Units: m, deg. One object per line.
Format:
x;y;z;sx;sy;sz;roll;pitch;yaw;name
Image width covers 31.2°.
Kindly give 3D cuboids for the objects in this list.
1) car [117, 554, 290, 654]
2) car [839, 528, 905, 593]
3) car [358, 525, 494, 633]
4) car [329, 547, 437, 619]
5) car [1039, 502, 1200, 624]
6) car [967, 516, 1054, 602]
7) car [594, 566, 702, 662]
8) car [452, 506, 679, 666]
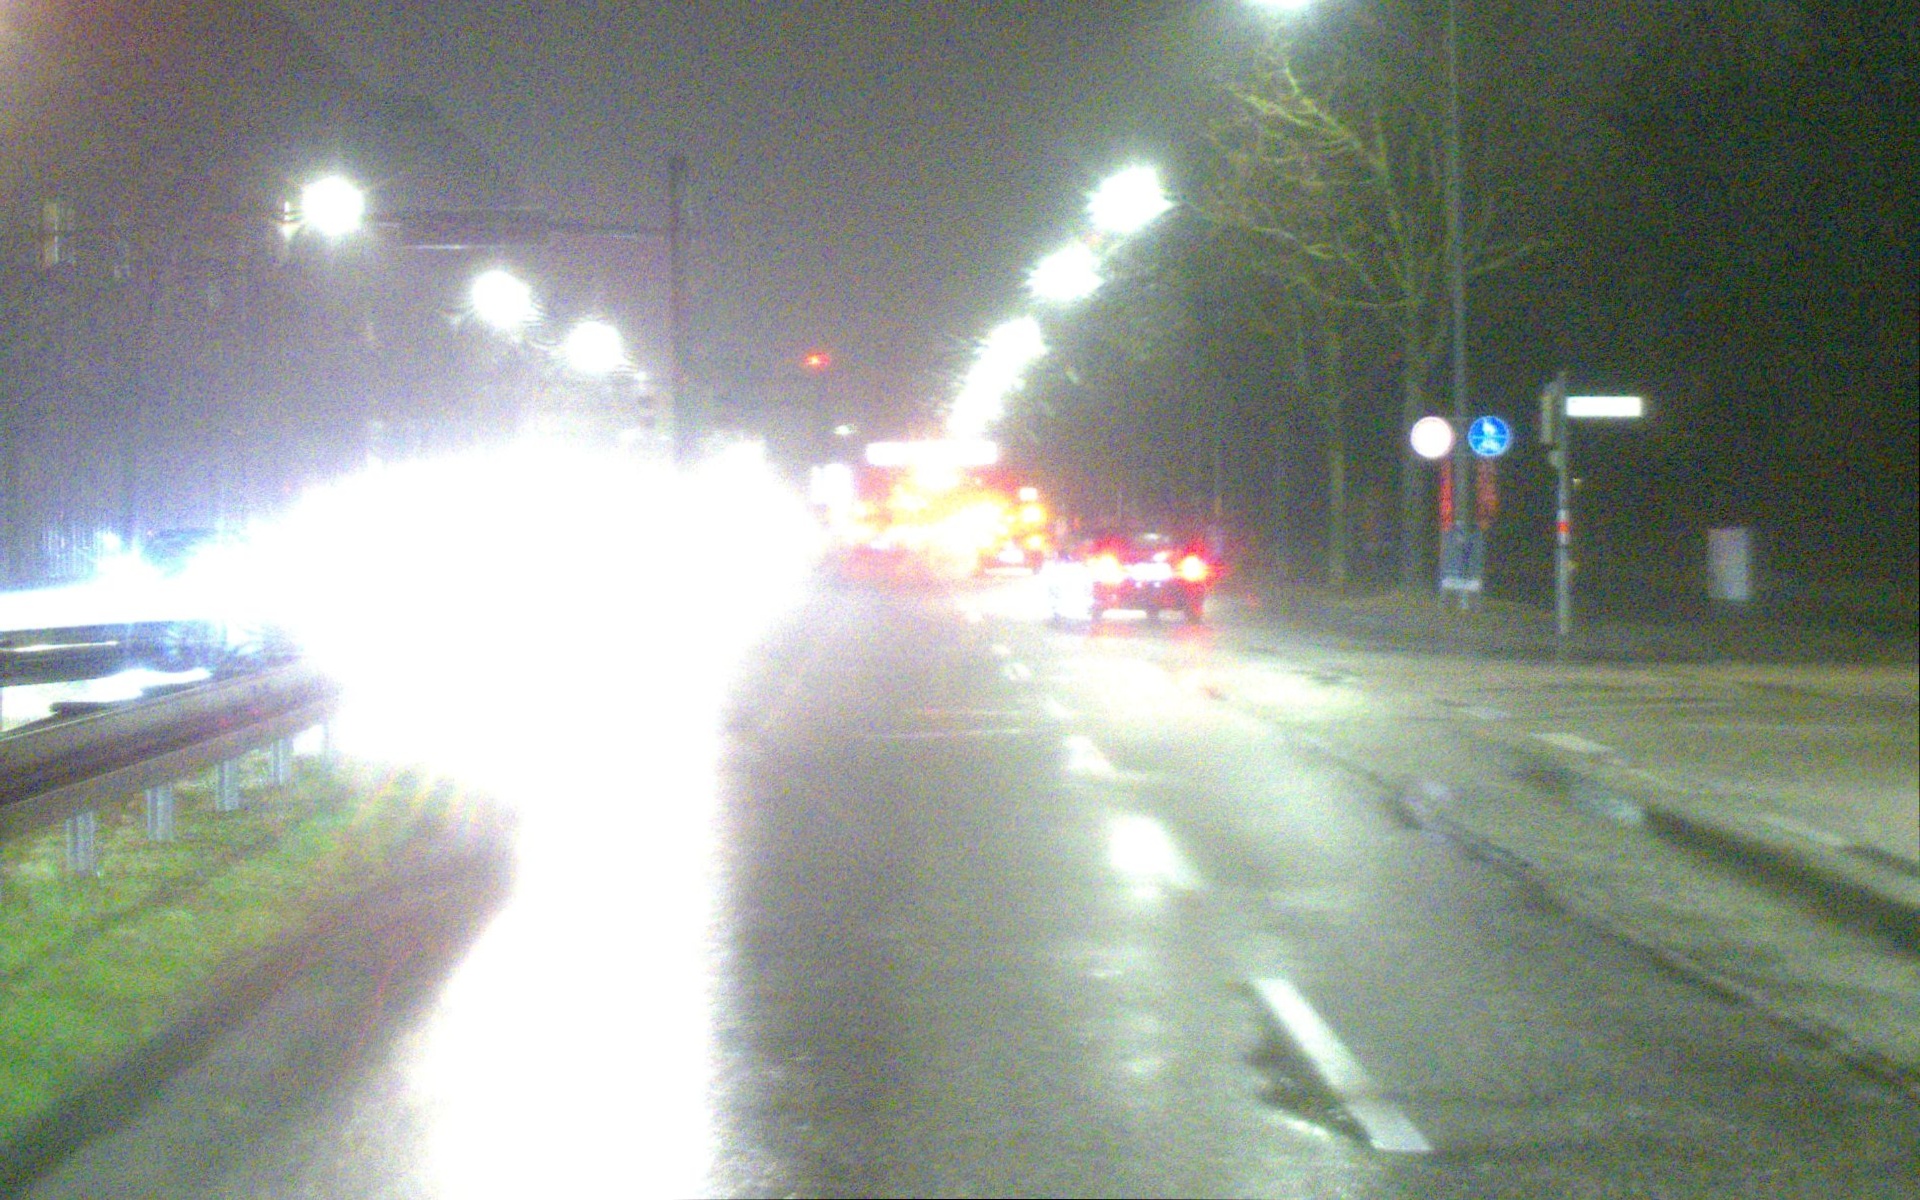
-12.256;0.045;55.928;1.885;1.547;4.433;0;0;-1;car
-2.730;-1.229;107.741;1.993;2.007;4.000;0;0;-1;car
-9.434;-0.382;60.959;1.783;1.809;4.000;-1;1;0;car
-13.101;-0.402;78.262;1.770;1.564;4.331;-1;1;-1;car
2.369;-0.551;51.948;1.902;1.774;4.001;0;0;-5;car
1.314;-1.064;90.591;2.208;2.207;3.643;0;0;0;car
-6.764;0.278;74.833;1.993;2.007;4.000;-1;1;-1;car
-4.179;-0.159;37.142;1.993;1.604;4.971;0;0;-1;car
